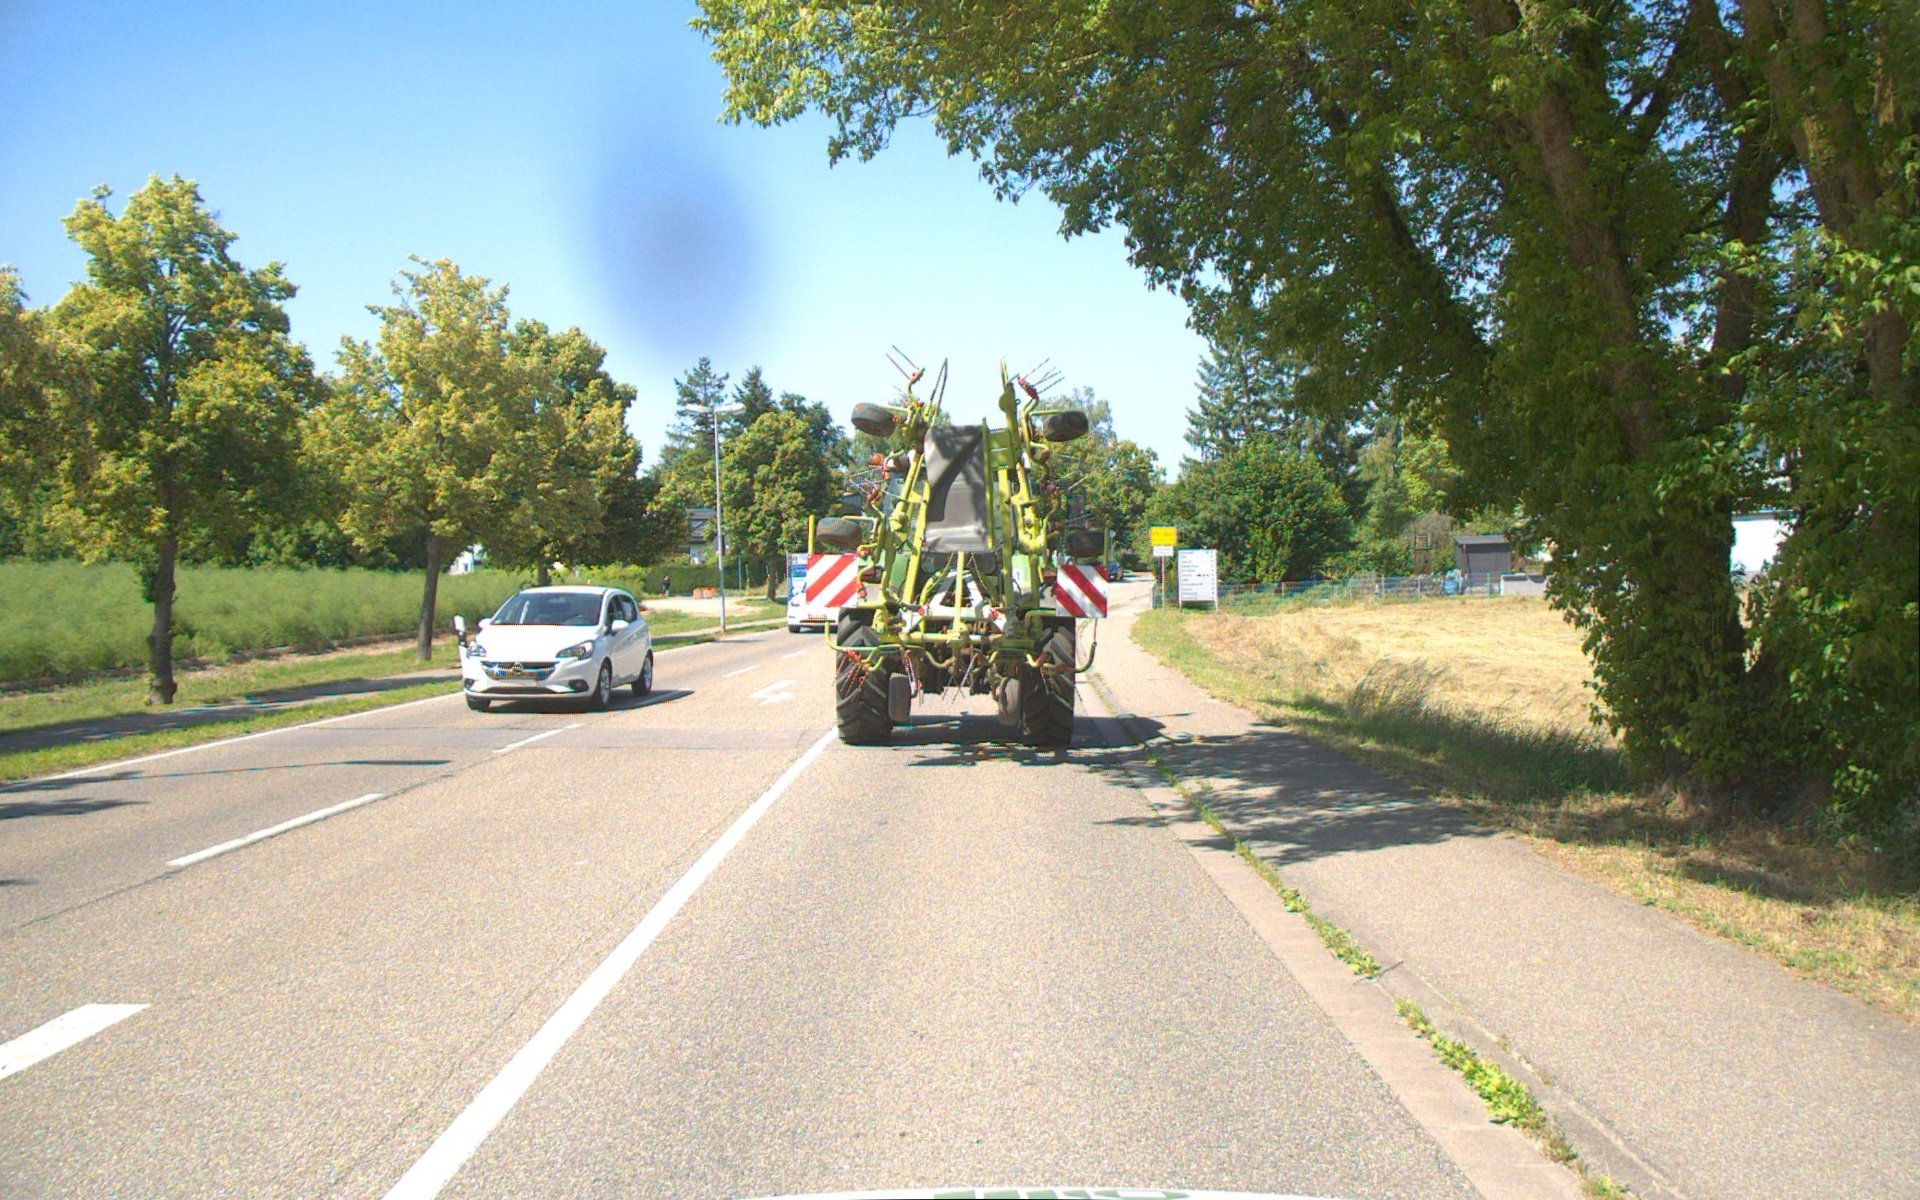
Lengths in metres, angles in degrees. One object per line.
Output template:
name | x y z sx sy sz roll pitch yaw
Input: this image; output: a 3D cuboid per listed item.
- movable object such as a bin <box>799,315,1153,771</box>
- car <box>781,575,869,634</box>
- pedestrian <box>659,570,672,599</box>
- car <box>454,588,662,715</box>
movable object such as a bin | -0.008 -0.512 18.030 2.795 3.603 9.698 1 1 -2
car | -3.859 0.098 47.975 1.836 1.599 4.474 0 1 4
pedestrian | -17.868 -0.941 100.406 0.537 1.746 0.677 1 0 12
car | -5.030 0.581 21.197 1.614 1.459 3.898 0 1 2
